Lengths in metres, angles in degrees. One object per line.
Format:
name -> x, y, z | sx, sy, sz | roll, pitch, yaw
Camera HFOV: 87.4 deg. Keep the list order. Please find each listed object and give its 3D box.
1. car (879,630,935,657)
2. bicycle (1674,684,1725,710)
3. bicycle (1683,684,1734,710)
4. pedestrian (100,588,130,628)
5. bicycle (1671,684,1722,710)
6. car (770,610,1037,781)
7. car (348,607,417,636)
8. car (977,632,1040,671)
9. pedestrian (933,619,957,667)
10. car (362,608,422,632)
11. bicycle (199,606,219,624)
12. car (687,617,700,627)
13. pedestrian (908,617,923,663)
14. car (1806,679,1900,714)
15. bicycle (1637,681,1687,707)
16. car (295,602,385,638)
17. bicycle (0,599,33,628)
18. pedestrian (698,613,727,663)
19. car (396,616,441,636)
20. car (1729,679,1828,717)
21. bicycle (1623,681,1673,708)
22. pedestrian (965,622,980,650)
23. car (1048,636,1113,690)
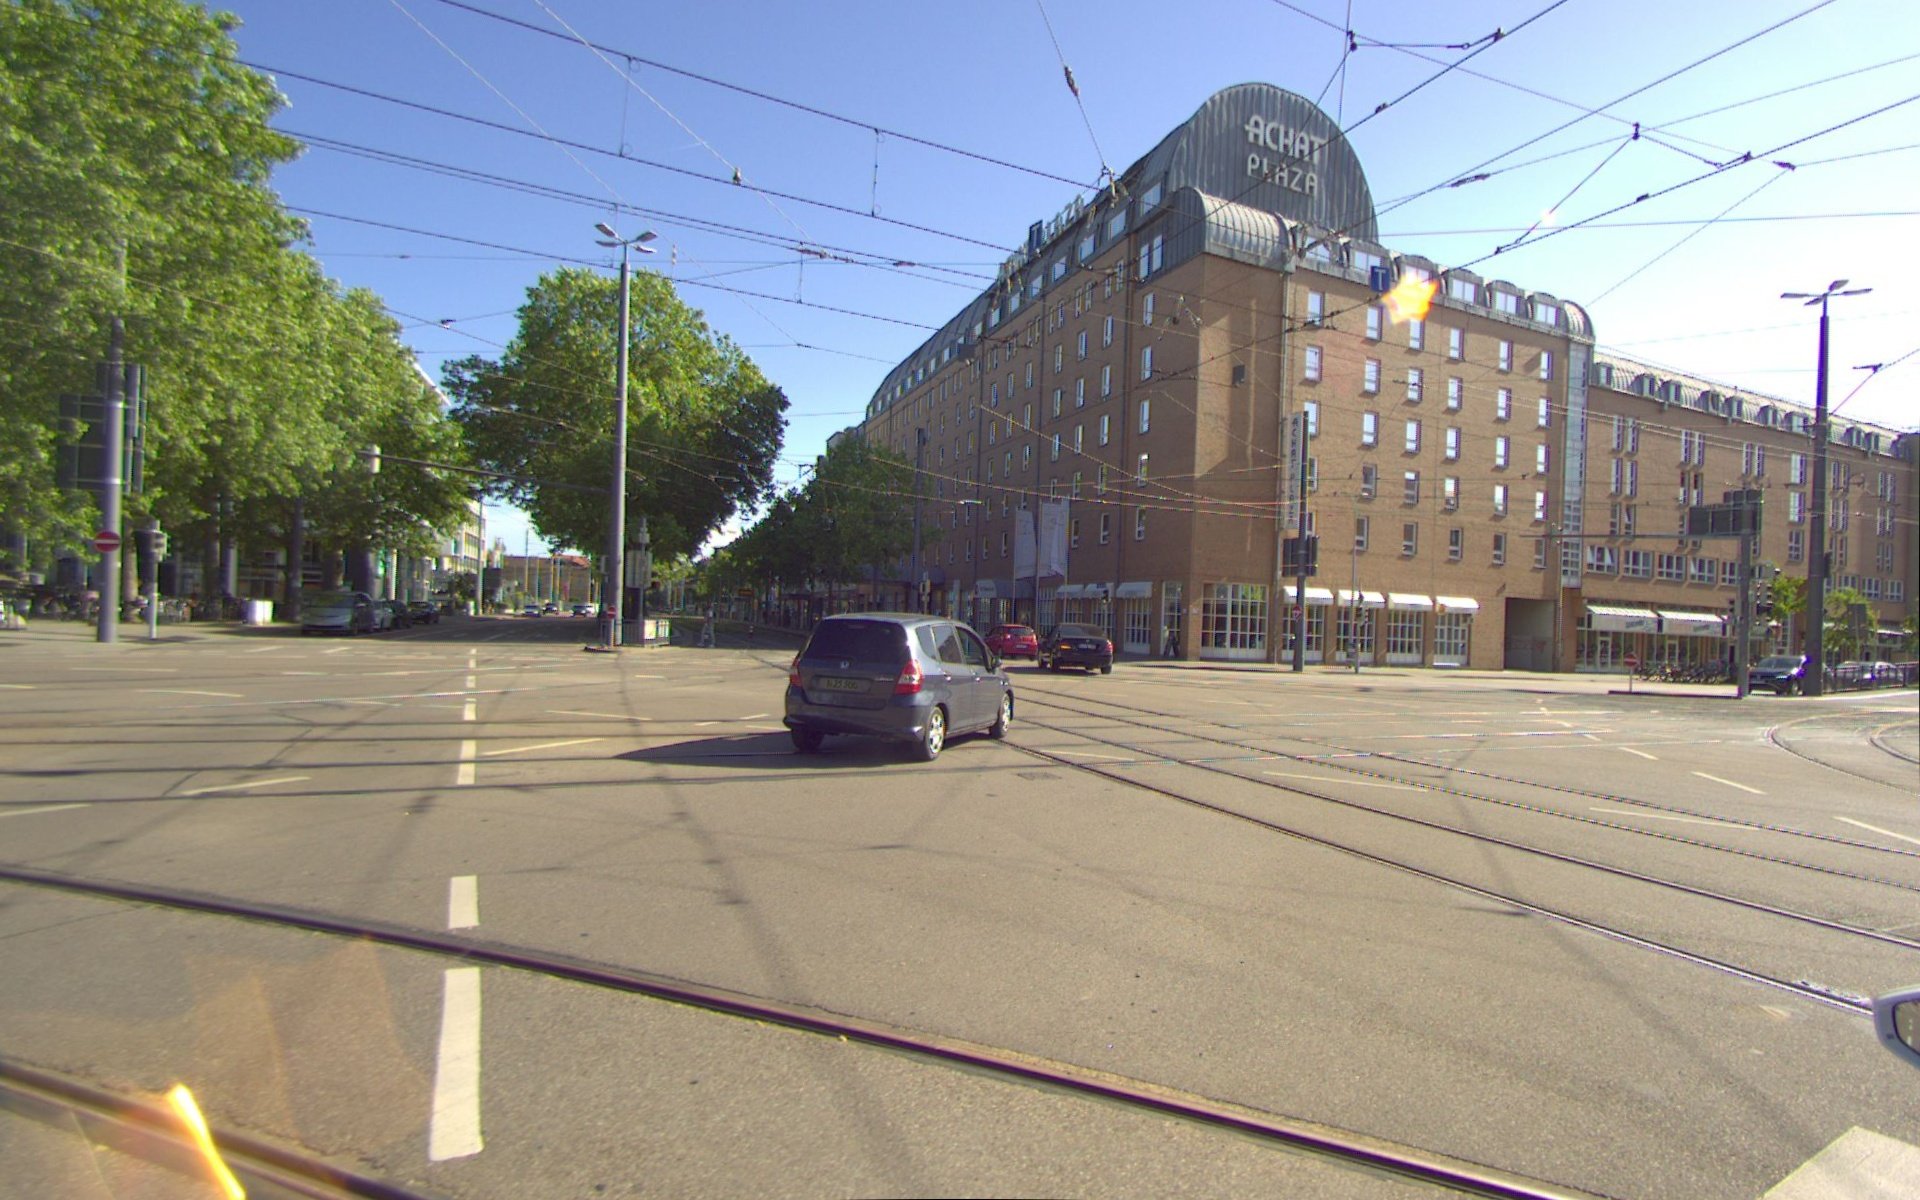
car -> -3.191, 2.539, 59.167 | 2.036, 1.399, 4.392 | 4, -2, -20
bicycle -> 44.073, 5.749, 59.931 | 0.722, 1.327, 2.483 | 3, -2, -17
bicycle -> 44.889, 5.798, 60.295 | 0.722, 1.327, 2.483 | 3, -2, -17
pedestrian -> -32.240, 0.315, 38.333 | 0.491, 1.471, 0.649 | 2, -2, 11
bicycle -> 43.254, 5.678, 59.020 | 0.722, 1.327, 2.483 | 3, -2, -17
car -> -0.471, 1.011, 11.718 | 1.698, 1.584, 3.678 | 2, -2, 21
car -> -26.118, 0.964, 45.557 | 1.753, 1.158, 3.987 | 3, -2, -16
car -> 2.038, 2.184, 43.095 | 1.631, 1.468, 3.574 | 3, -2, -15
pedestrian -> -0.629, 1.808, 42.338 | 0.742, 1.957, 0.520 | 3, -2, -28
car -> -29.353, 1.028, 52.057 | 1.753, 1.158, 3.987 | 3, -2, -16
bicycle -> -33.721, 0.660, 45.110 | 0.439, 0.793, 1.485 | 3, -2, -26
car -> -53.648, 4.449, 202.201 | 1.971, 1.884, 3.980 | 4, -2, -21
pedestrian -> -1.904, 1.732, 43.236 | 0.518, 1.957, 0.524 | 3, -1, -2
car -> 37.834, 4.068, 42.557 | 4.175, 1.416, 1.604 | 3, -5, -28
bicycle -> 41.144, 5.500, 58.927 | 0.722, 1.327, 2.483 | 3, -2, -17
car -> -24.423, 0.770, 39.724 | 1.968, 1.247, 3.987 | 3, -2, -16
bicycle -> -28.339, 0.401, 29.915 | 0.370, 0.809, 2.019 | 4, -2, -24
pedestrian -> -10.076, 1.549, 40.922 | 0.894, 1.957, 0.698 | 4, -2, -28
car -> -36.027, 1.711, 66.896 | 1.753, 1.158, 3.987 | 3, -2, -16
car -> 32.024, 3.840, 39.310 | 3.871, 1.416, 1.604 | 3, -5, -28
bicycle -> 40.213, 5.510, 58.719 | 0.722, 1.327, 2.483 | 3, -2, -17
pedestrian -> 0.903, 2.551, 71.075 | 0.822, 1.957, 0.557 | 4, -2, -25
car -> 3.694, 1.900, 31.425 | 1.697, 1.467, 4.524 | 3, -2, 3
